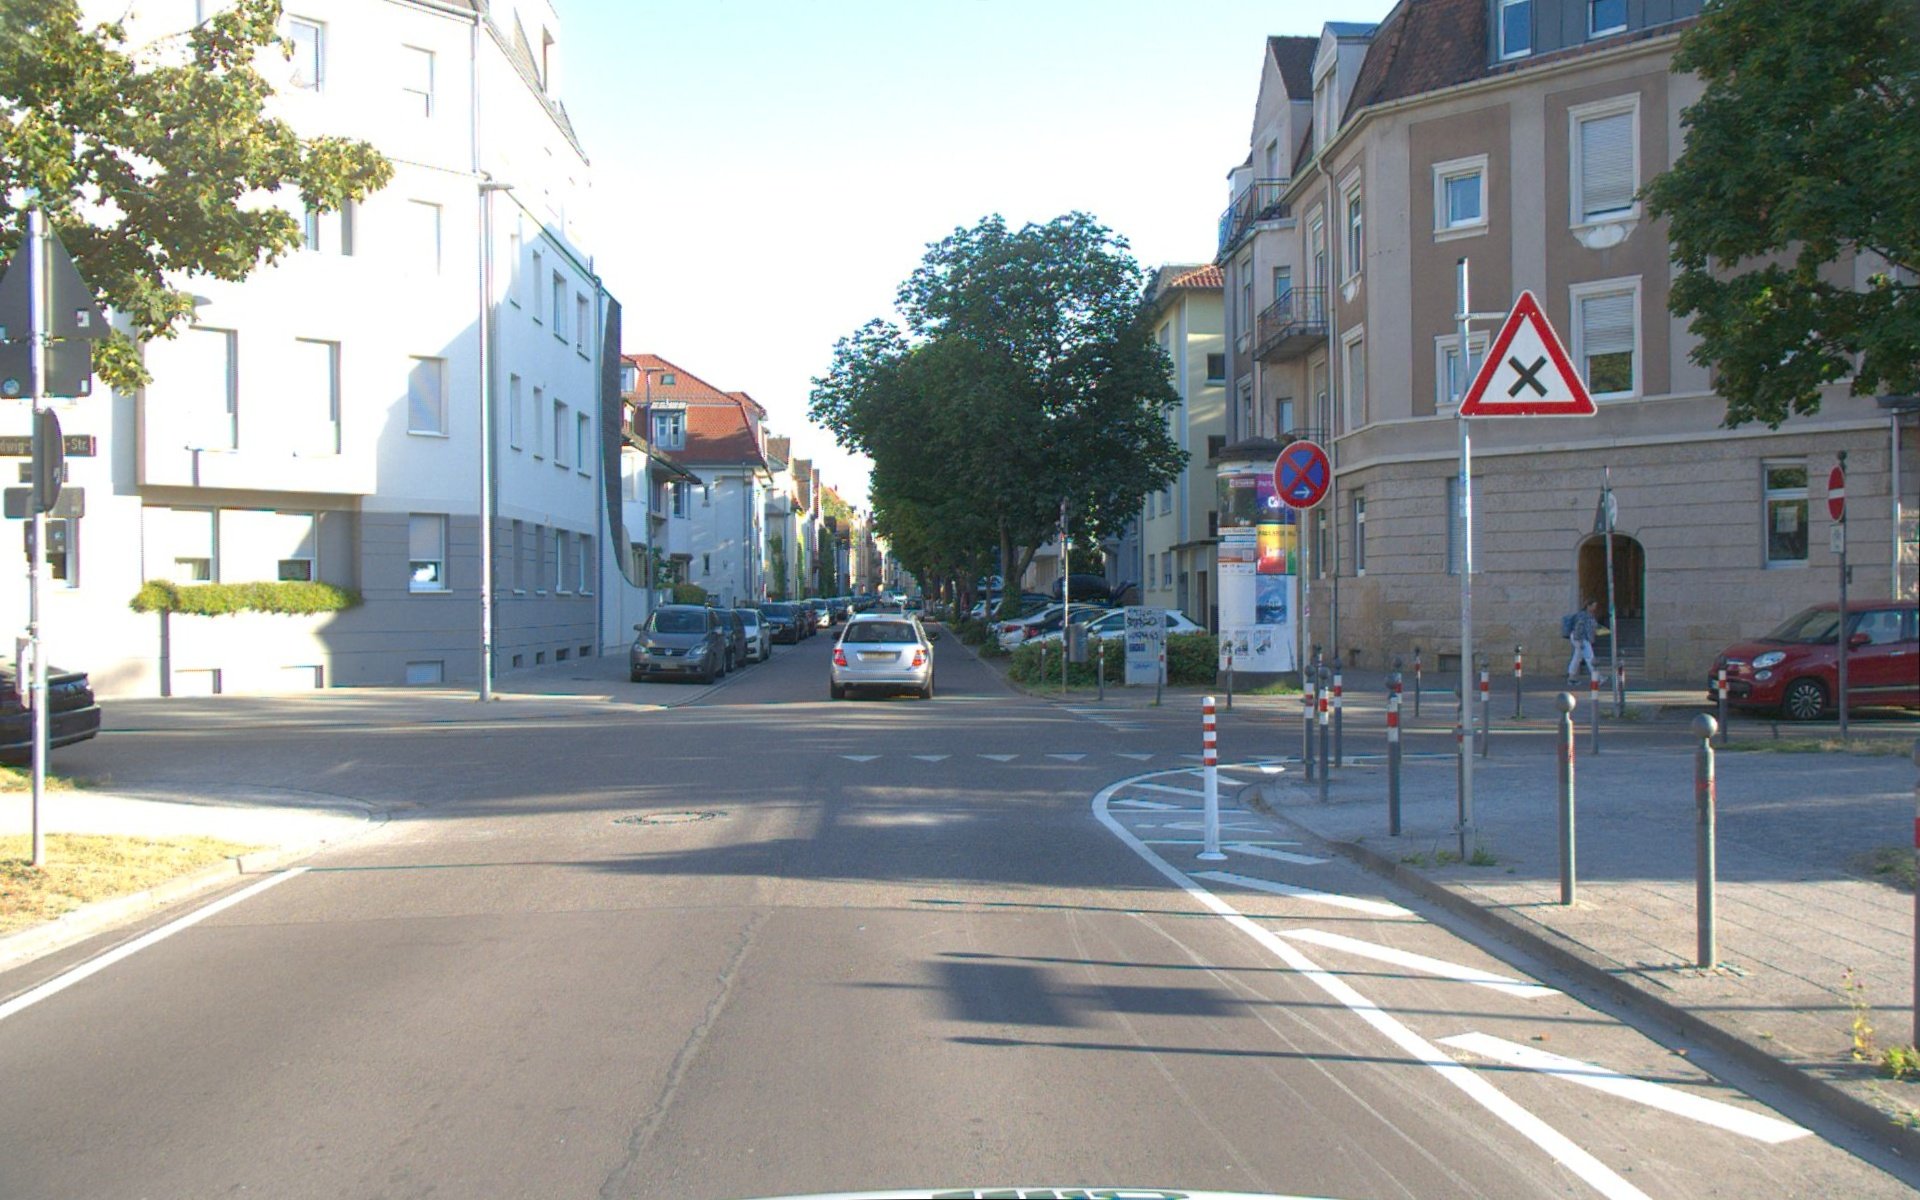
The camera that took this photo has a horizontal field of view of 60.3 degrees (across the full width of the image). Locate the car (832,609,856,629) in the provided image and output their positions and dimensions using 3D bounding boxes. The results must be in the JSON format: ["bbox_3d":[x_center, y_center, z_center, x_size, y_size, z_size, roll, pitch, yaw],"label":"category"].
[{"bbox_3d":[-9.305,1.527,132.464,1.763,1.508,3.855,0,0,-2],"label":"car"}]

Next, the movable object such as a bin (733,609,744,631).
[{"bbox_3d":[-11.696,1.067,87.519,0.517,1.127,0.589,0,-1,-2],"label":"movable object such as a bin"}]

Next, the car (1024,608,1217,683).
[{"bbox_3d":[3.464,0.973,36.273,3.967,1.532,1.861,-1,0,-3],"label":"car"}]

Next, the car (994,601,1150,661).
[{"bbox_3d":[3.295,0.904,49.323,4.436,1.669,1.873,-1,0,-3],"label":"car"}]

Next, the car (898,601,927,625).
[{"bbox_3d":[-3.123,0.872,109.252,1.779,1.498,4.216,0,-1,1],"label":"car"}]

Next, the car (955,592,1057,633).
[{"bbox_3d":[2.078,0.570,75.613,4.533,1.869,1.953,0,0,-2],"label":"car"}]

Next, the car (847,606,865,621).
[{"bbox_3d":[-10.503,1.365,167.286,1.763,1.411,3.605,0,0,-2],"label":"car"}]

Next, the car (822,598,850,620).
[{"bbox_3d":[-8.702,0.624,116.224,1.763,1.508,3.855,0,0,-2],"label":"car"}]

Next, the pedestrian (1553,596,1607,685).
[{"bbox_3d":[11.210,0.719,29.904,0.803,1.572,0.741,0,1,29],"label":"pedestrian"}]

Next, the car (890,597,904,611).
[{"bbox_3d":[-7.346,0.463,193.063,1.497,1.500,4.271,0,-1,1],"label":"car"}]

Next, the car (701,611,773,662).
[{"bbox_3d":[-6.691,1.083,49.927,1.722,1.473,4.140,0,0,-2],"label":"car"}]

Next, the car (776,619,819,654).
[{"bbox_3d":[-7.210,1.593,73.777,1.626,1.514,3.752,0,0,-2],"label":"car"}]

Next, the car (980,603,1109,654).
[{"bbox_3d":[2.792,0.937,55.265,4.107,1.585,1.873,-1,0,-3],"label":"car"}]

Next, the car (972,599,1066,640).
[{"bbox_3d":[2.371,0.768,67.100,3.656,1.585,1.724,-1,0,-3],"label":"car"}]

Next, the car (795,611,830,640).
[{"bbox_3d":[-7.901,1.356,88.609,1.626,1.526,3.752,0,0,-2],"label":"car"}]

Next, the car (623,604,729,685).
[{"bbox_3d":[-6.042,0.906,35.586,1.847,1.619,4.086,0,0,-4],"label":"car"}]

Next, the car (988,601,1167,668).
[{"bbox_3d":[3.082,0.877,43.774,4.393,1.552,1.951,-2,1,-8],"label":"car"}]

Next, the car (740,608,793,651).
[{"bbox_3d":[-7.200,1.077,61.929,1.818,1.524,4.650,0,0,-5],"label":"car"}]

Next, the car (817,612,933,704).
[{"bbox_3d":[-1.426,0.979,29.255,1.779,1.498,4.216,0,-1,1],"label":"car"}]

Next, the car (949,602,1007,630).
[{"bbox_3d":[1.111,1.004,103.541,3.524,1.689,1.648,-1,0,-4],"label":"car"}]

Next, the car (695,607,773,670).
[{"bbox_3d":[-6.162,1.018,45.485,1.847,1.619,4.086,0,0,-4],"label":"car"}]

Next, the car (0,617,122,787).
[{"bbox_3d":[-11.673,1.046,17.451,4.725,1.698,1.788,0,0,-2],"label":"car"}]

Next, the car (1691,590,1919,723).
[{"bbox_3d":[12.979,0.781,23.946,3.991,1.771,1.812,0,2,-1],"label":"car"}]

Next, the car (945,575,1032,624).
[{"bbox_3d":[1.808,-0.053,106.664,5.433,3.020,2.470,-1,0,-5],"label":"car"}]

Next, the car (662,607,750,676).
[{"bbox_3d":[-6.279,0.999,41.216,1.847,1.619,4.086,0,0,-4],"label":"car"}]

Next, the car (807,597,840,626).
[{"bbox_3d":[-8.048,0.662,97.951,1.763,1.673,3.855,0,0,-2],"label":"car"}]

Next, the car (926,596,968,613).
[{"bbox_3d":[-1.185,0.376,149.437,3.766,1.508,1.805,-1,0,-1],"label":"car"}]

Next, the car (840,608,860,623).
[{"bbox_3d":[-10.350,1.435,156.039,1.763,1.411,3.605,0,0,-2],"label":"car"}]
